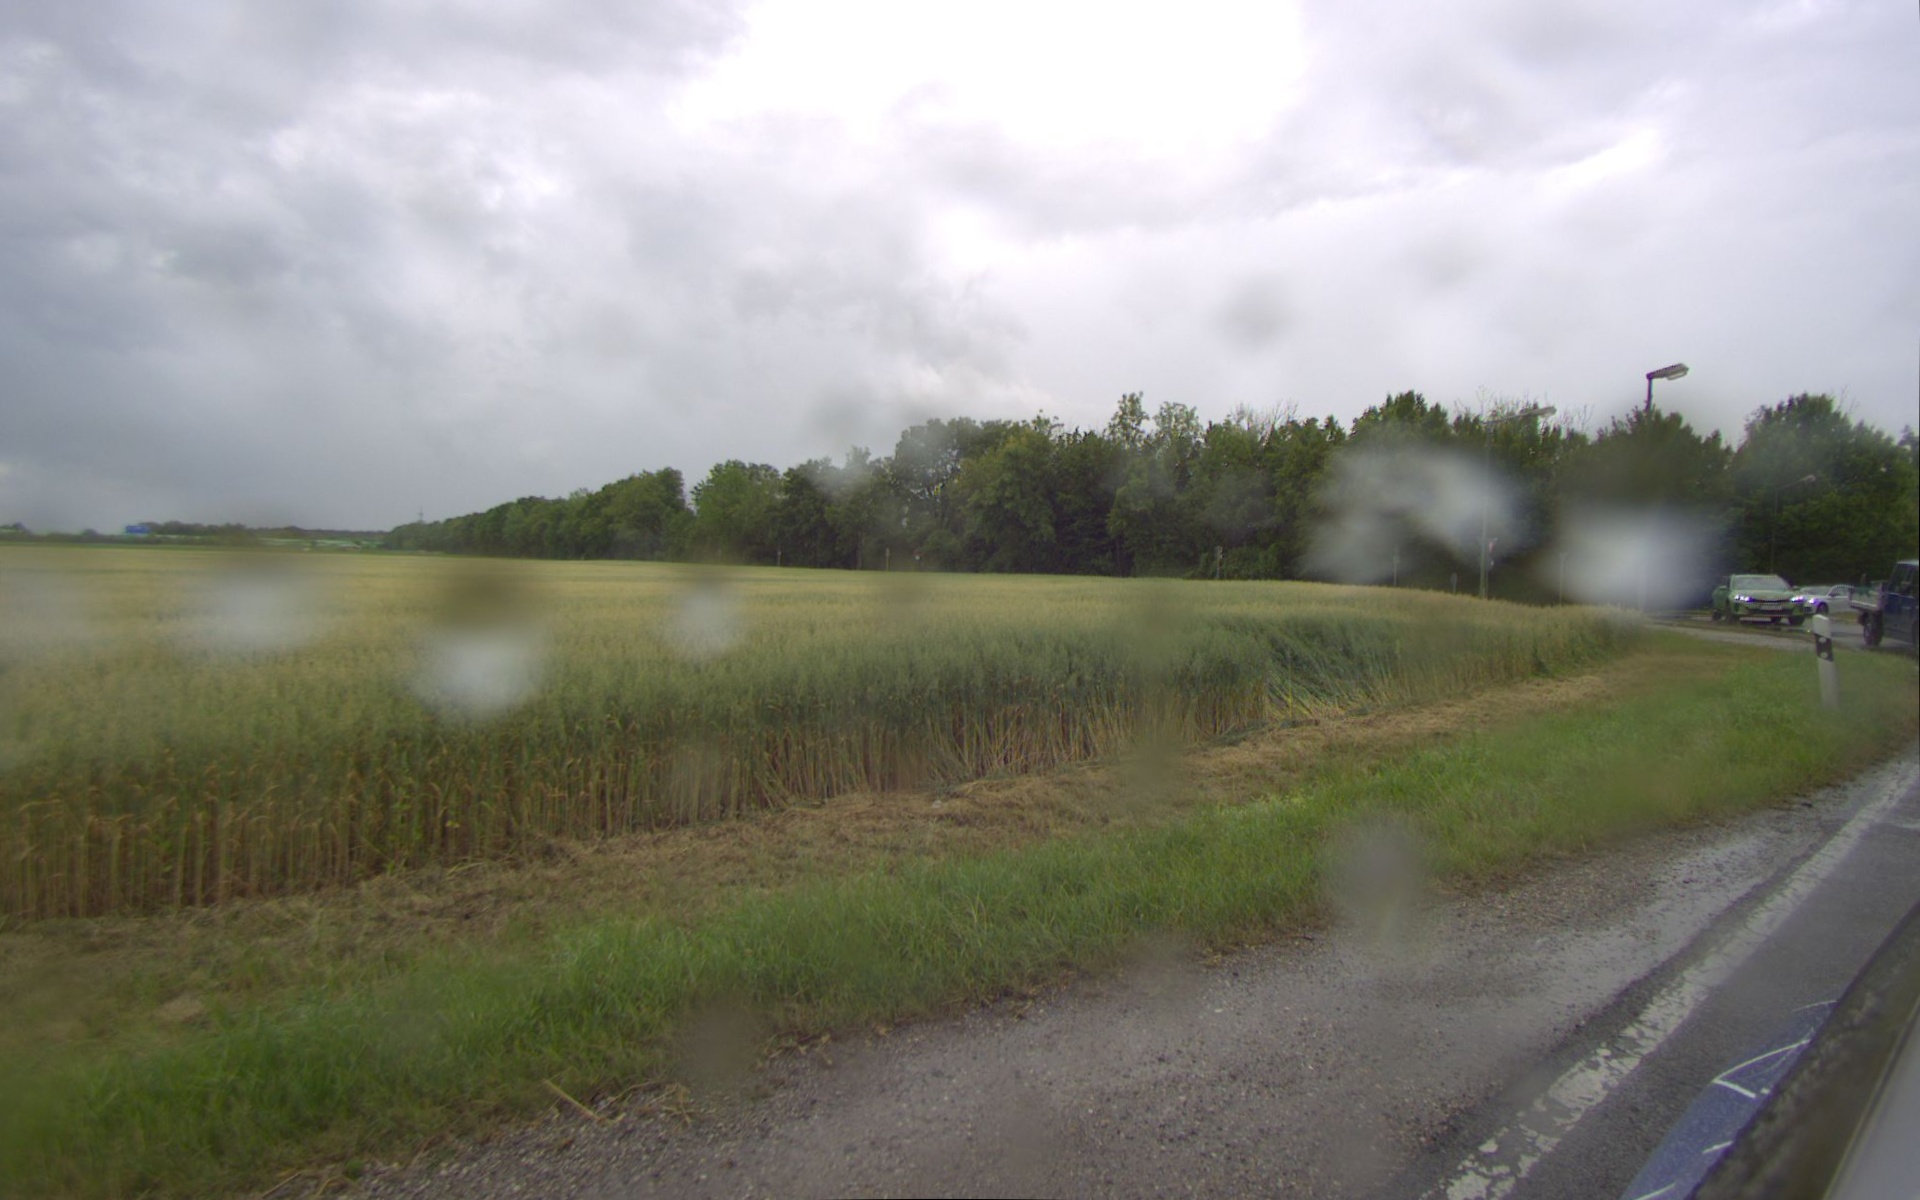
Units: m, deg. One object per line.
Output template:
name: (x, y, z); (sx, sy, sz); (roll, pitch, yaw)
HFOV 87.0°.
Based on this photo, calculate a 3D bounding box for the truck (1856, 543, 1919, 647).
truck: (20.844, -0.155, 21.055); (2.058, 2.087, 5.712); (-1, 1, 29)

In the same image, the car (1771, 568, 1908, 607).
car: (35.674, -0.509, 41.096); (4.408, 1.550, 1.897); (0, 1, -12)

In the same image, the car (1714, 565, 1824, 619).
car: (25.242, -0.277, 31.765); (1.877, 1.550, 5.200); (1, 1, 30)
